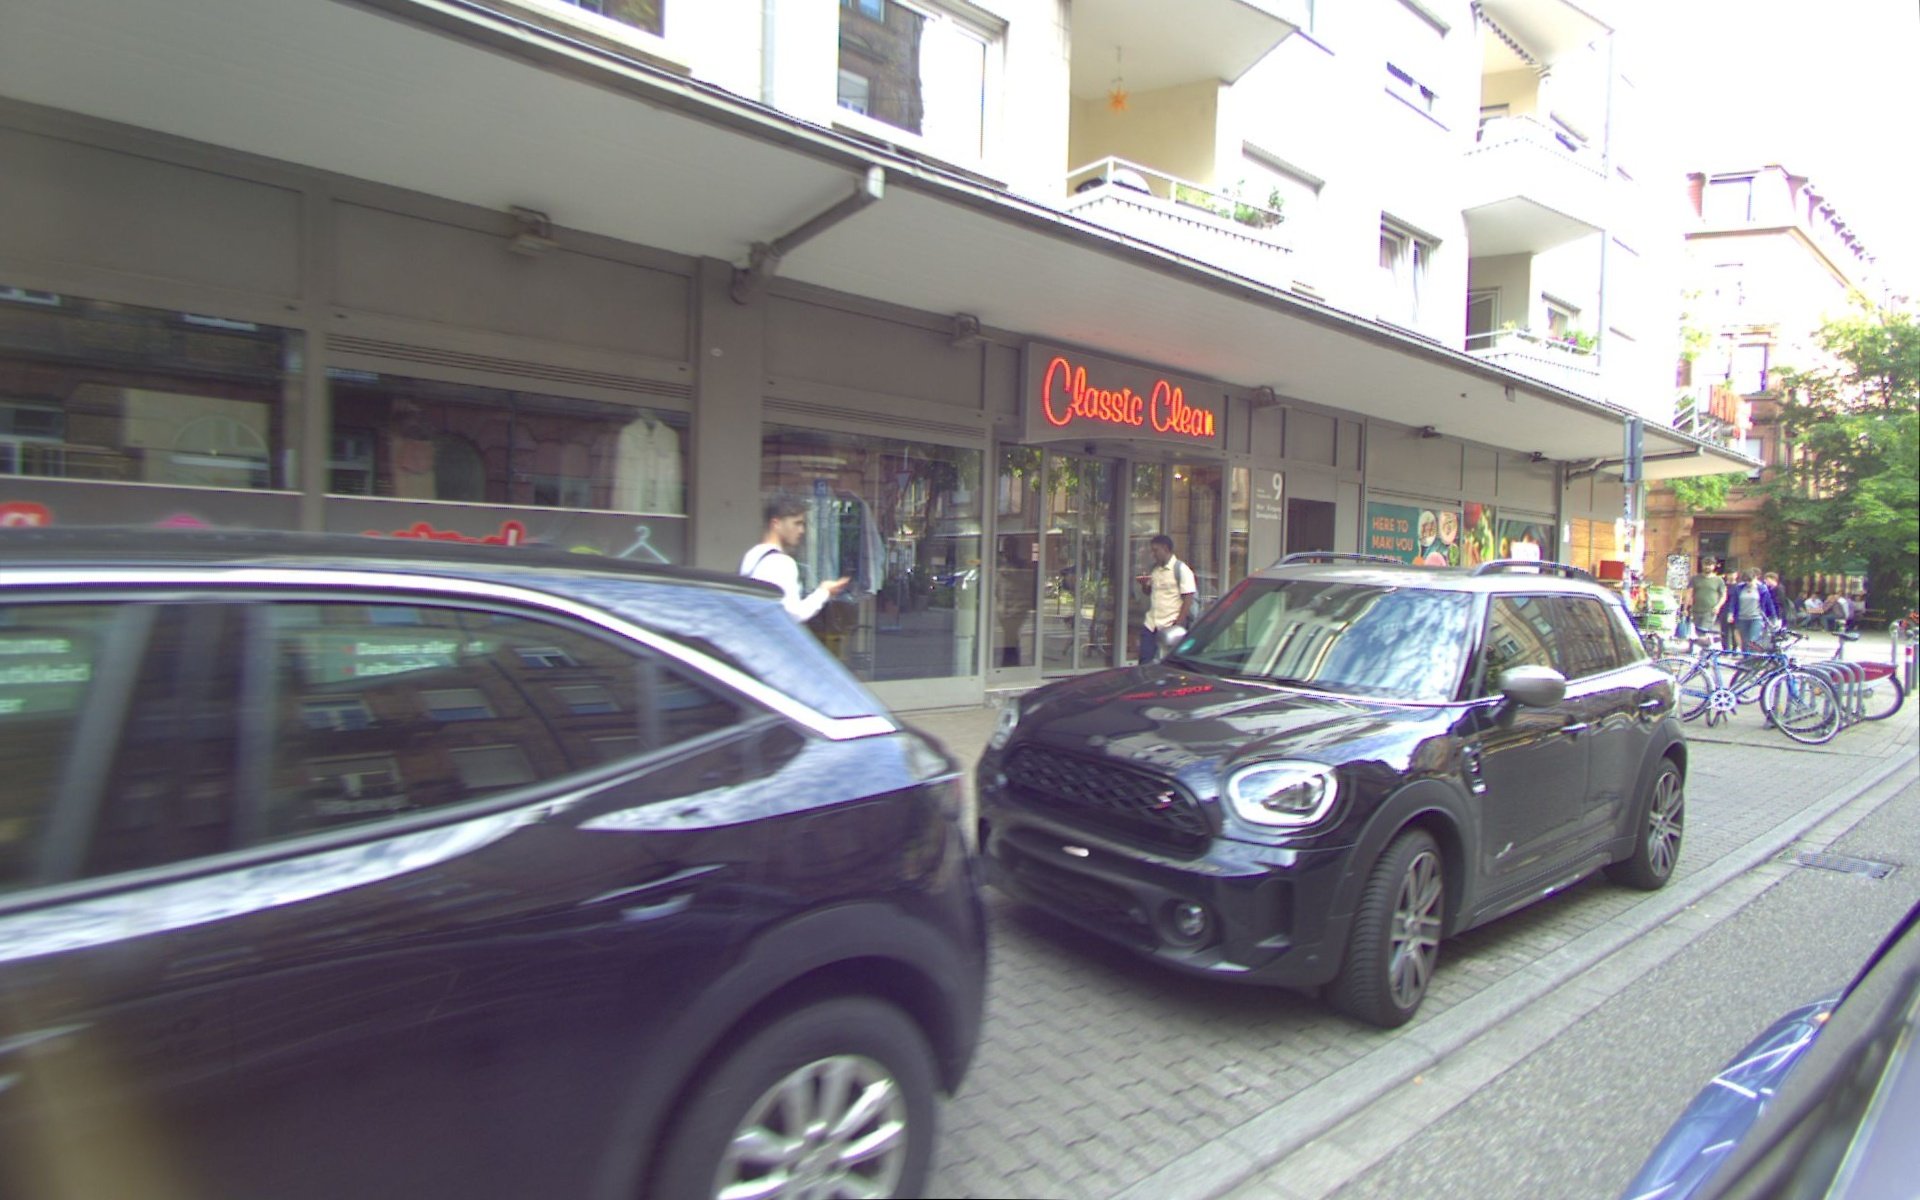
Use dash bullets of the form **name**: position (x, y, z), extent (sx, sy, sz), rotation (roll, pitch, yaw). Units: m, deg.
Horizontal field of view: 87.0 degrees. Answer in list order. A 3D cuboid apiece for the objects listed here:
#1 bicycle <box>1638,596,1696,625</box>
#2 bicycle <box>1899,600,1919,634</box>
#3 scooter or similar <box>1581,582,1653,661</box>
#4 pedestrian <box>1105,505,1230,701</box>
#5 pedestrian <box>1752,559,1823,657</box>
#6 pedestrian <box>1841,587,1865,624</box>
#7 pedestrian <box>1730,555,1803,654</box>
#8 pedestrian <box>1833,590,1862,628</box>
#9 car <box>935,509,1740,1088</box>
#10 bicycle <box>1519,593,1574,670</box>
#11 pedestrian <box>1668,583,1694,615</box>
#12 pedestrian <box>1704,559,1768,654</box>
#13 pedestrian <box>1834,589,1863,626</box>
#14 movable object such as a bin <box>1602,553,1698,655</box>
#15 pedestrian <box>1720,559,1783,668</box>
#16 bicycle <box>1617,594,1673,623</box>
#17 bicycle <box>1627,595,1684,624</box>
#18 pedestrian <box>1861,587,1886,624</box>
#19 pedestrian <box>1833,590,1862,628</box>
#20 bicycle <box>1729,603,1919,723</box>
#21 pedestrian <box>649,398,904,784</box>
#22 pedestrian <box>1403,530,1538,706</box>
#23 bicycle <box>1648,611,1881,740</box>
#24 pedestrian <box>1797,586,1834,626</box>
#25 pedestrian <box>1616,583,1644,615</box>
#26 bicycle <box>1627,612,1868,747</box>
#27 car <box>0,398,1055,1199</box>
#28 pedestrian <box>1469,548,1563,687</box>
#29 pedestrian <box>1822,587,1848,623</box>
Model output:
- **bicycle**: position (24.778, 0.356, 35.487), extent (1.679, 0.981, 0.448), rotation (0, 3, -1)
- **bicycle**: position (31.027, 0.579, 31.981), extent (0.671, 1.047, 1.856), rotation (0, 3, -39)
- **scooter or similar**: position (10.941, 0.345, 16.846), extent (1.234, 1.227, 0.633), rotation (1, 4, -42)
- **pedestrian**: position (1.987, 0.005, 9.705), extent (0.803, 1.767, 0.715), rotation (1, 4, -41)
- **pedestrian**: position (16.131, 0.136, 19.746), extent (0.705, 1.818, 0.629), rotation (5, 3, 16)
- **pedestrian**: position (34.062, 0.201, 38.614), extent (0.462, 1.343, 0.616), rotation (3, 3, 27)
- **pedestrian**: position (15.556, 0.078, 19.540), extent (0.620, 1.818, 0.716), rotation (4, 3, -6)
- **pedestrian**: position (31.466, 0.312, 35.901), extent (0.726, 1.332, 0.513), rotation (1, 0, 39)
- **car**: position (1.970, 0.522, 4.749), extent (3.853, 1.625, 1.797), rotation (1, 3, -39)
- **bicycle**: position (9.179, 0.457, 15.821), extent (0.673, 1.055, 1.715), rotation (3, 3, 31)
- **pedestrian**: position (29.133, -0.052, 40.905), extent (0.628, 1.239, 0.513), rotation (0, 3, -6)
- **pedestrian**: position (15.577, 0.132, 20.324), extent (0.645, 1.818, 0.657), rotation (3, 3, -26)
- **pedestrian**: position (32.247, 0.261, 36.737), extent (0.726, 1.332, 0.599), rotation (1, 0, 39)
- **movable object such as a bin**: position (12.804, 0.055, 18.751), extent (2.380, 1.766, 0.781), rotation (0, 2, -40)
- **pedestrian**: position (13.431, 0.206, 17.163), extent (0.762, 1.775, 0.917), rotation (3, 2, 40)
- **bicycle**: position (24.614, 0.308, 36.370), extent (1.679, 0.999, 0.448), rotation (0, 3, -1)
- **bicycle**: position (24.709, 0.331, 35.938), extent (1.679, 0.999, 0.448), rotation (0, 3, -1)
- **pedestrian**: position (34.221, 0.214, 37.915), extent (0.462, 1.343, 0.616), rotation (3, 3, 27)
- **pedestrian**: position (31.815, 0.314, 36.273), extent (0.726, 1.332, 0.513), rotation (1, 0, 39)
- **bicycle**: position (10.277, 0.693, 11.790), extent (0.891, 1.138, 1.887), rotation (1, 5, -41)
- **pedestrian**: position (-0.926, -0.045, 5.188), extent (1.107, 1.748, 0.613), rotation (1, 0, -41)
- **pedestrian**: position (5.522, 0.165, 10.950), extent (1.030, 1.767, 0.851), rotation (1, 4, -41)
- **bicycle**: position (8.291, 0.731, 10.507), extent (1.788, 1.083, 0.560), rotation (6, 4, 42)
- **pedestrian**: position (31.215, 0.207, 36.947), extent (0.656, 1.395, 0.718), rotation (1, 2, -4)
- **pedestrian**: position (28.249, -0.058, 42.645), extent (0.753, 1.301, 0.631), rotation (-1, 2, -16)
- **bicycle**: position (7.781, 0.737, 10.072), extent (1.788, 1.083, 0.578), rotation (6, 4, 42)
- **car**: position (-1.809, 0.519, 1.677), extent (3.833, 1.596, 1.692), rotation (0, 3, -41)
- **pedestrian**: position (7.028, 0.204, 12.801), extent (0.700, 1.652, 0.724), rotation (1, 4, -41)
- **pedestrian**: position (33.026, 0.174, 38.220), extent (0.543, 1.316, 0.616), rotation (3, 3, 27)
